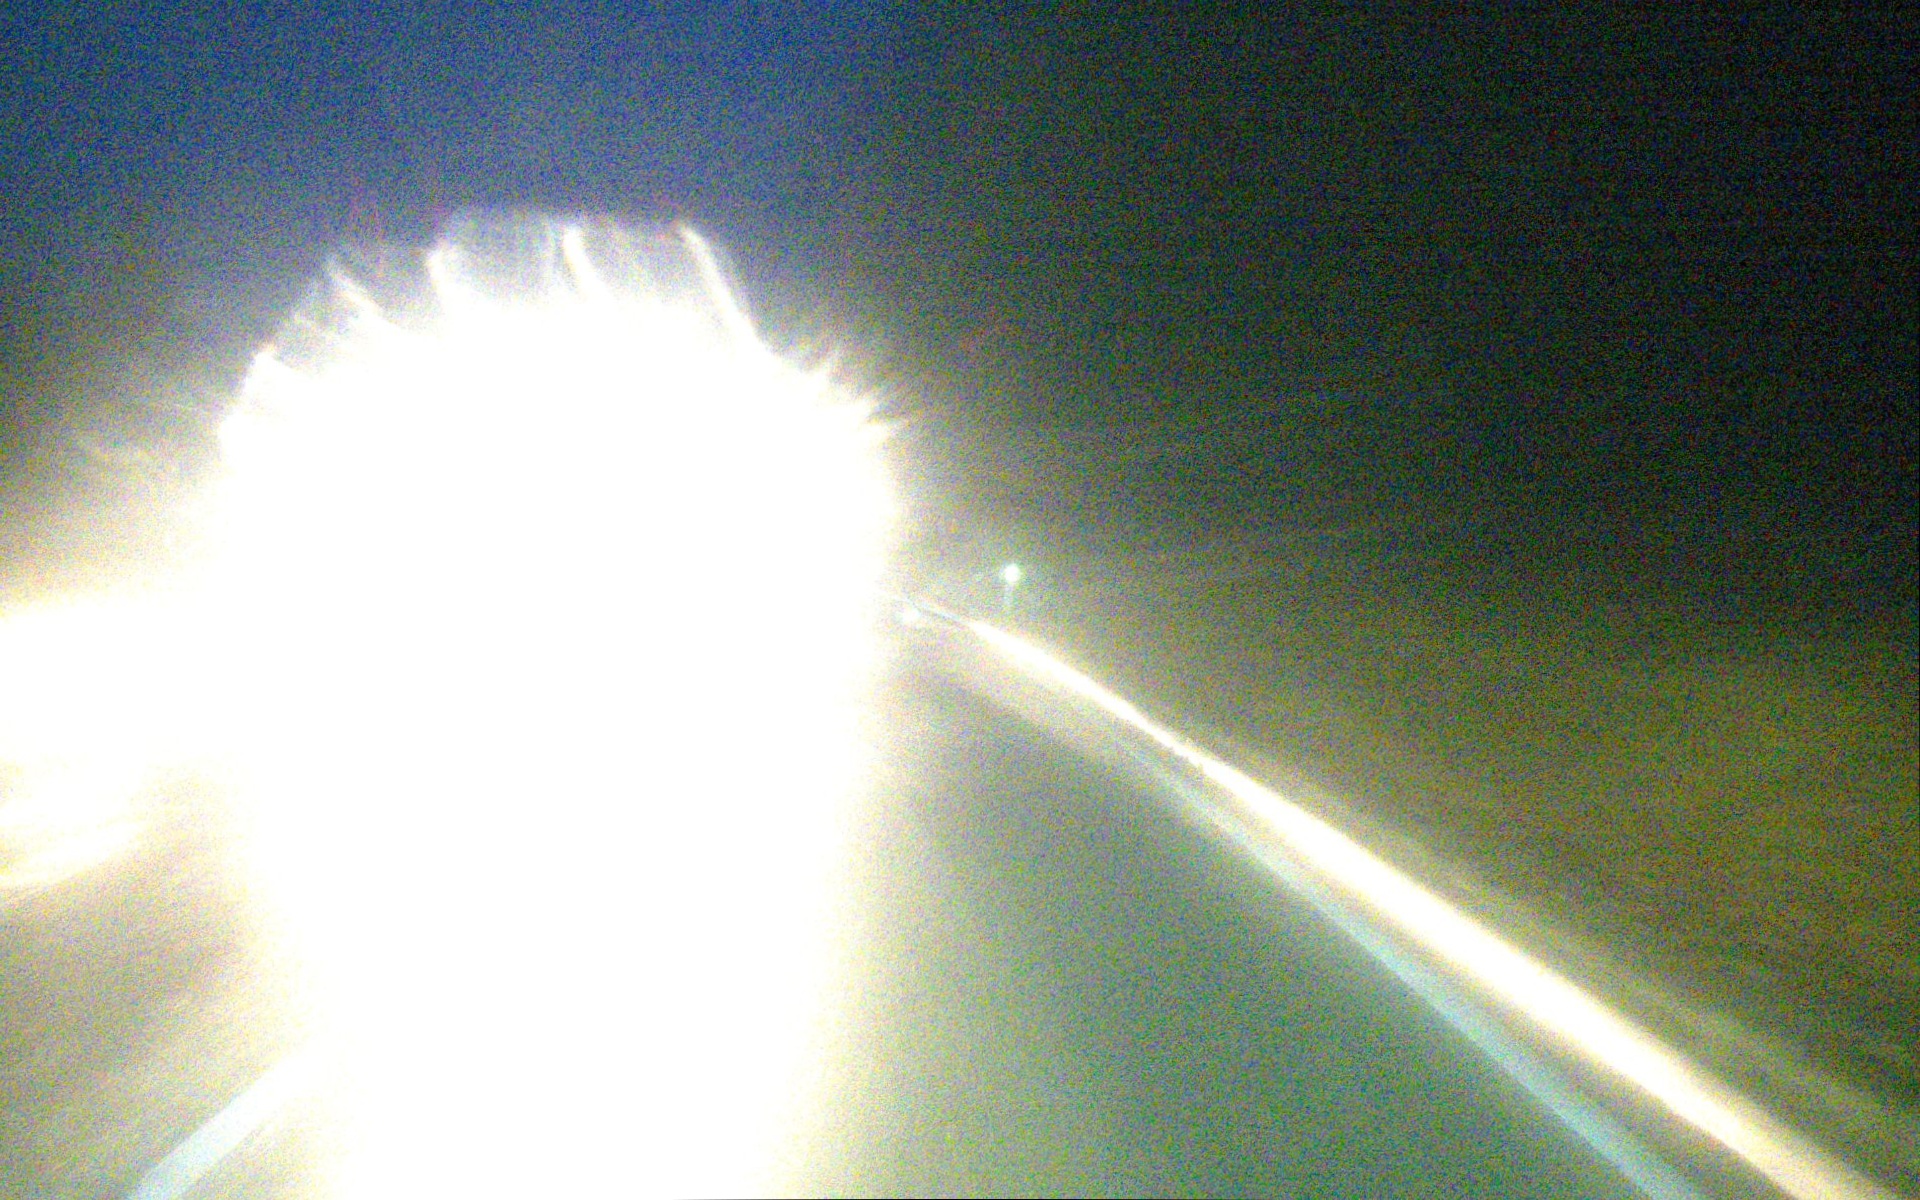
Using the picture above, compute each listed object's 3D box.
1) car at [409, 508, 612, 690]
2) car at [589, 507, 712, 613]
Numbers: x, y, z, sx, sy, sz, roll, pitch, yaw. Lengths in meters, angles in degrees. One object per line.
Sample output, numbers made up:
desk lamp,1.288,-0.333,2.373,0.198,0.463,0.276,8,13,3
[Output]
car,-4.455,-0.038,34.551,1.771,1.669,4.055,2,1,-4
car,-5.605,-0.731,62.610,1.993,1.816,4.000,2,1,-2
